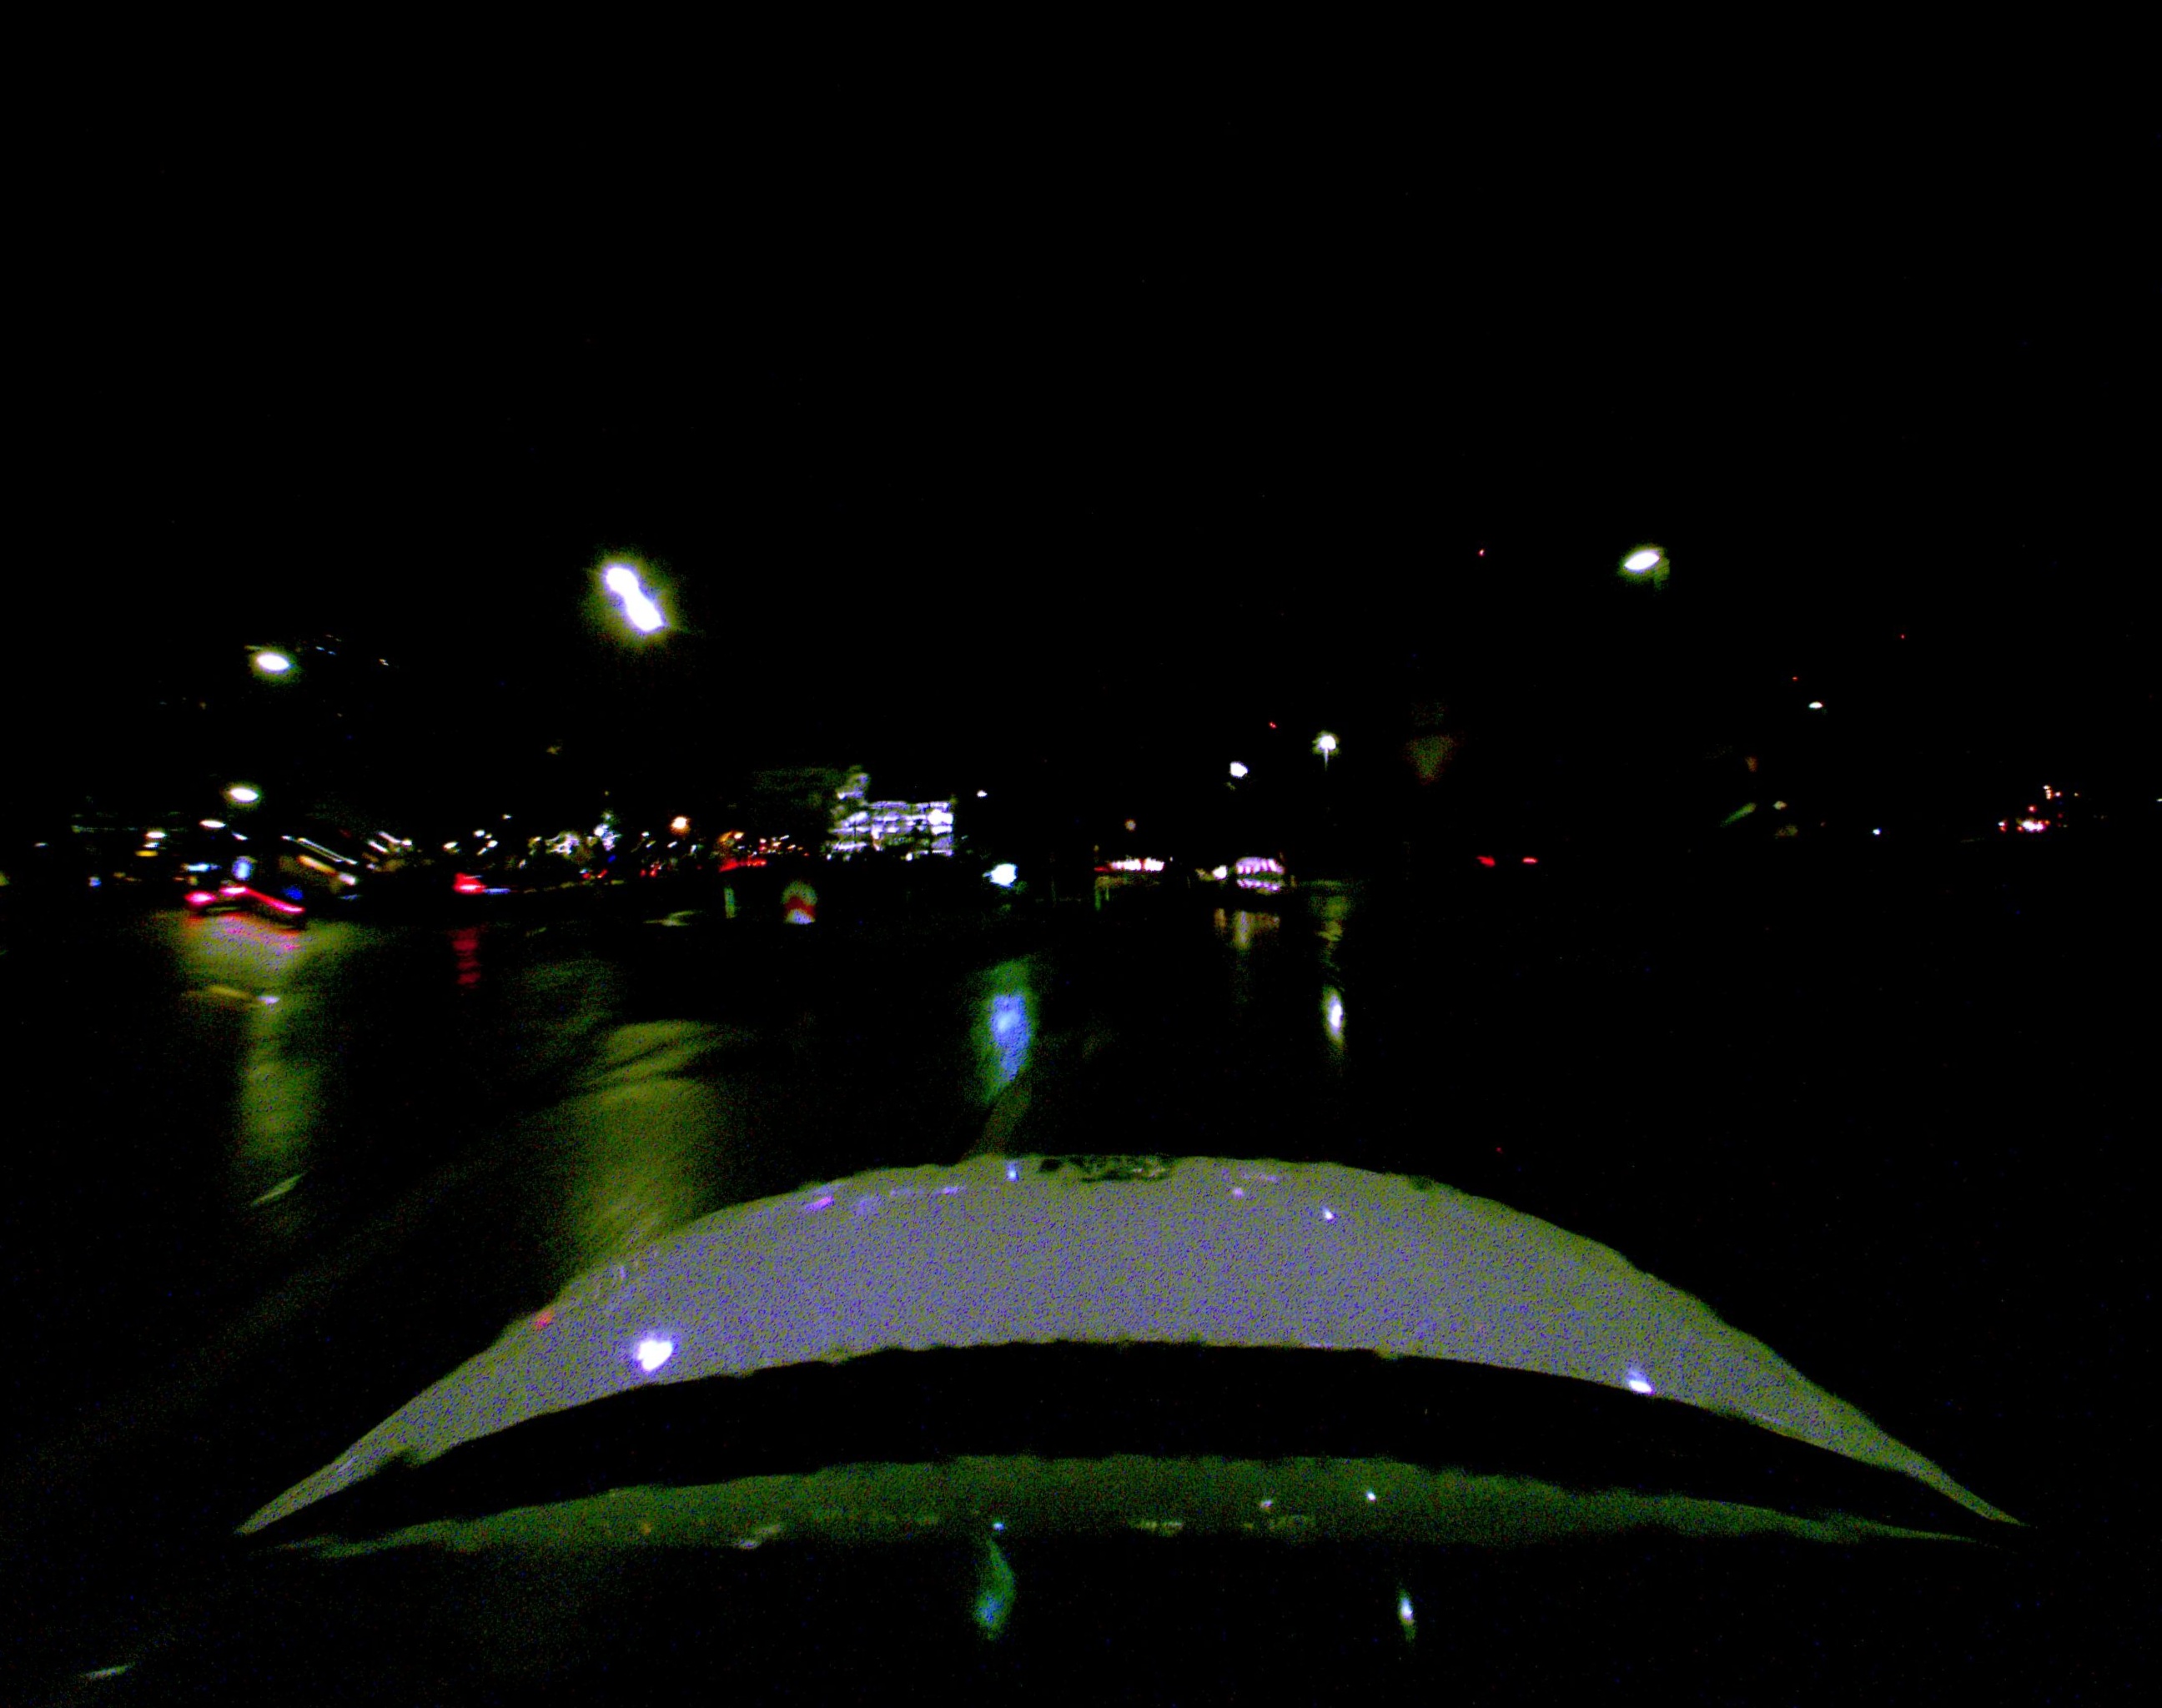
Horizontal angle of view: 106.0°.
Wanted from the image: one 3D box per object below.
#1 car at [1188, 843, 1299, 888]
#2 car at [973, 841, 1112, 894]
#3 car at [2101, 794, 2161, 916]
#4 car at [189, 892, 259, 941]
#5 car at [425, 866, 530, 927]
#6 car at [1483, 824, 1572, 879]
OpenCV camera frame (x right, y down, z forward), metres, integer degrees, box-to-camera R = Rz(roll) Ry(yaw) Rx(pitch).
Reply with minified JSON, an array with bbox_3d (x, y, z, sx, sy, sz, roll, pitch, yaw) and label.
[{"bbox_3d":[6.886,0.434,34.403,4.405,1.758,1.861,-1,1,-28],"label":"car"},{"bbox_3d":[-1.371,0.432,29.533,4.627,1.736,1.984,-1,1,-25],"label":"car"},{"bbox_3d":[16.518,-0.073,10.429,1.923,1.684,3.963,-1,-2,-28],"label":"car"},{"bbox_3d":[-33.073,2.353,31.401,3.949,1.583,1.606,0,1,40],"label":"car"},{"bbox_3d":[-18.784,1.257,25.287,3.842,1.640,1.875,0,1,42],"label":"car"},{"bbox_3d":[17.562,-0.158,31.942,1.975,2.013,4.585,0,1,43],"label":"car"}]
